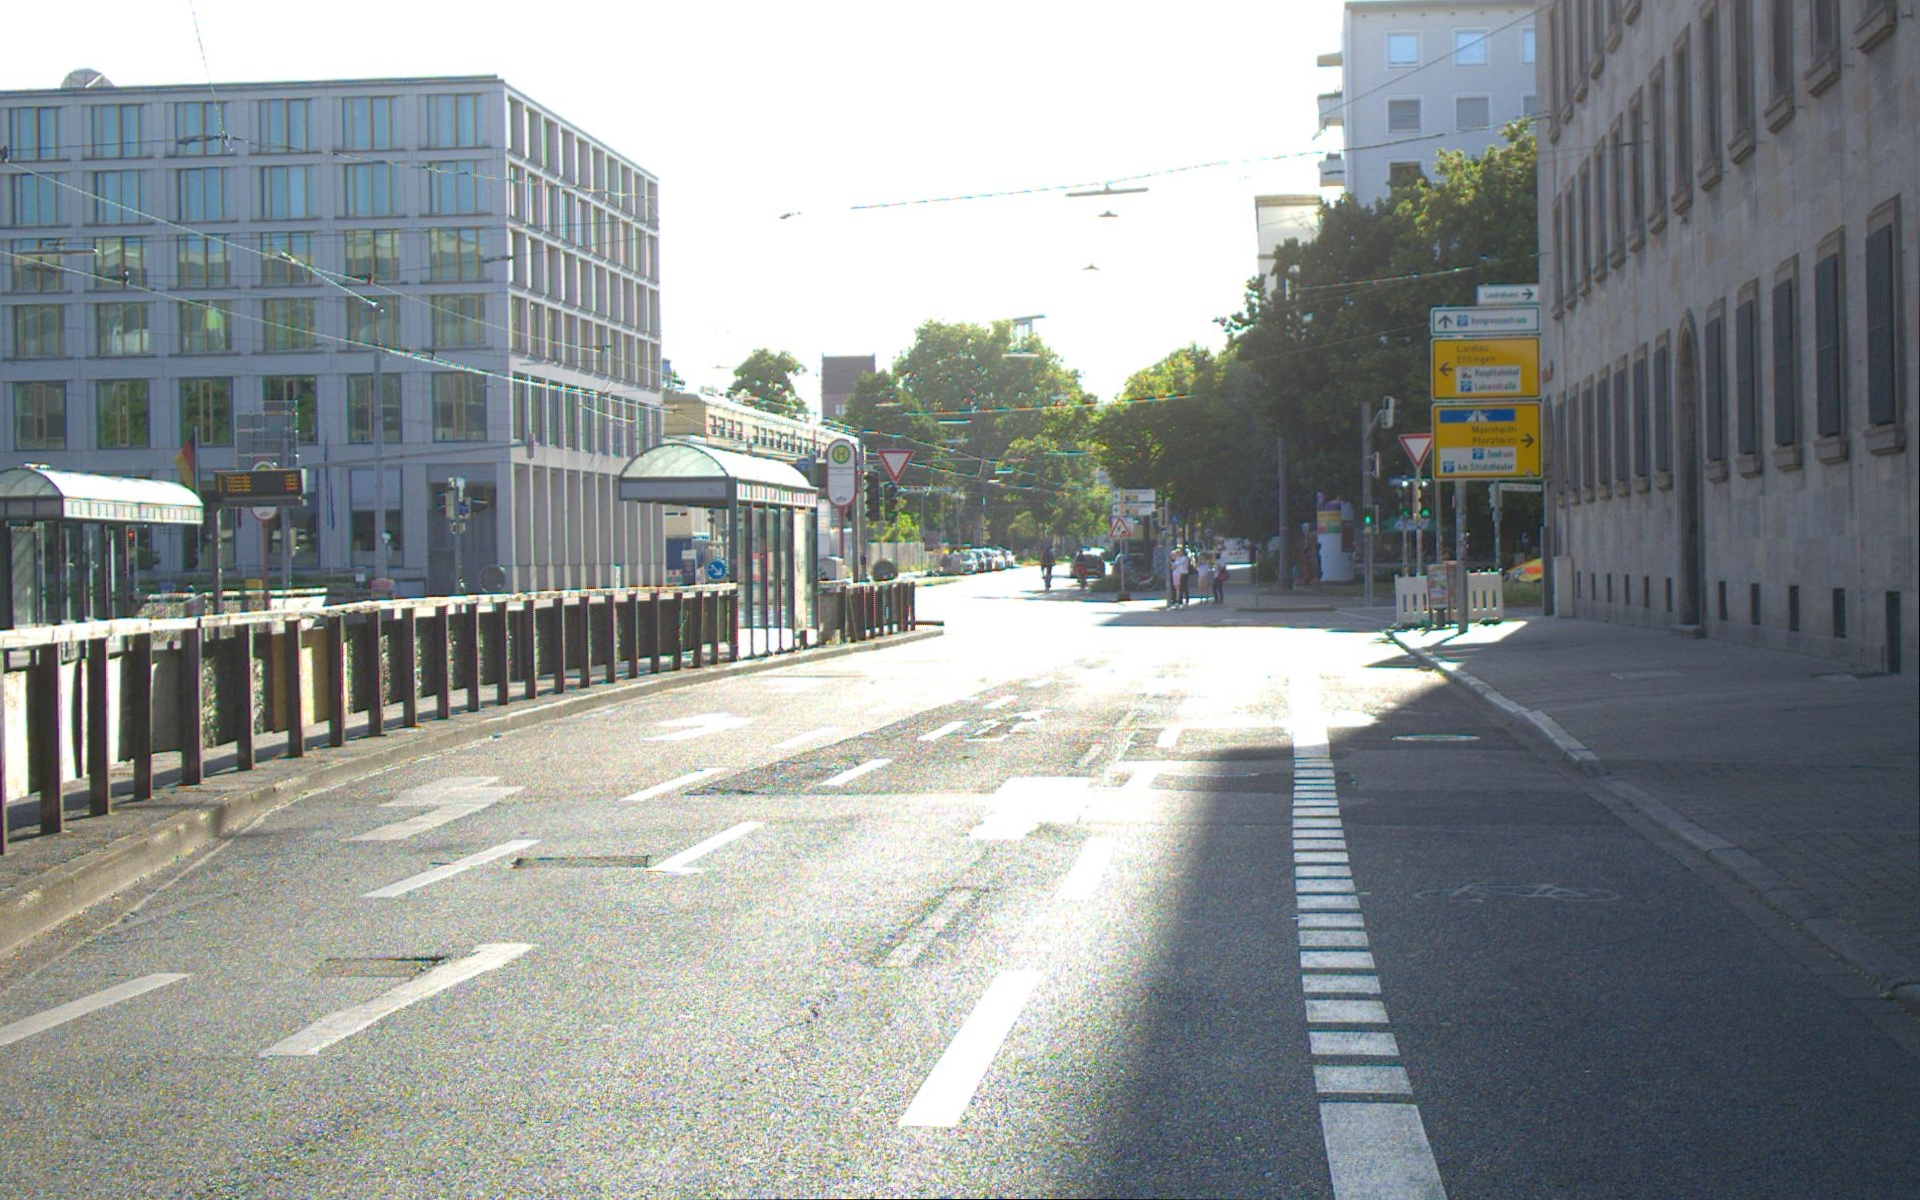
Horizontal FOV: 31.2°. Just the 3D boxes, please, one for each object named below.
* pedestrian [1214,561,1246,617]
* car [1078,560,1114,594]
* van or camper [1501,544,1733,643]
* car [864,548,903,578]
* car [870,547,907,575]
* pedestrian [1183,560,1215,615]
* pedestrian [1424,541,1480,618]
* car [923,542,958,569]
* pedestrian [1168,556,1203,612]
[{"bbox_3d":[8.791,-0.359,112.046,0.847,1.778,0.780,-1,0,-10],"label":"pedestrian"},{"bbox_3d":[7.265,-1.230,183.720,1.685,1.731,3.508,1,0,6],"label":"car"},{"bbox_3d":[19.727,-0.190,103.460,6.711,2.852,2.909,1,0,10],"label":"van or camper"},{"bbox_3d":[-4.470,-2.147,201.519,1.820,1.706,3.805,-1,0,6],"label":"car"},{"bbox_3d":[-4.408,-2.407,212.434,1.820,1.706,3.805,-1,0,6],"label":"car"},{"bbox_3d":[7.876,-0.412,113.120,0.847,1.778,0.780,-1,0,-10],"label":"pedestrian"},{"bbox_3d":[11.279,-0.471,78.841,1.039,1.715,1.035,-1,0,-6],"label":"pedestrian"},{"bbox_3d":[-1.267,-2.898,223.856,1.820,1.706,3.805,-1,0,6],"label":"car"},{"bbox_3d":[7.296,-0.514,111.240,0.965,1.778,0.780,-1,0,-10],"label":"pedestrian"}]
